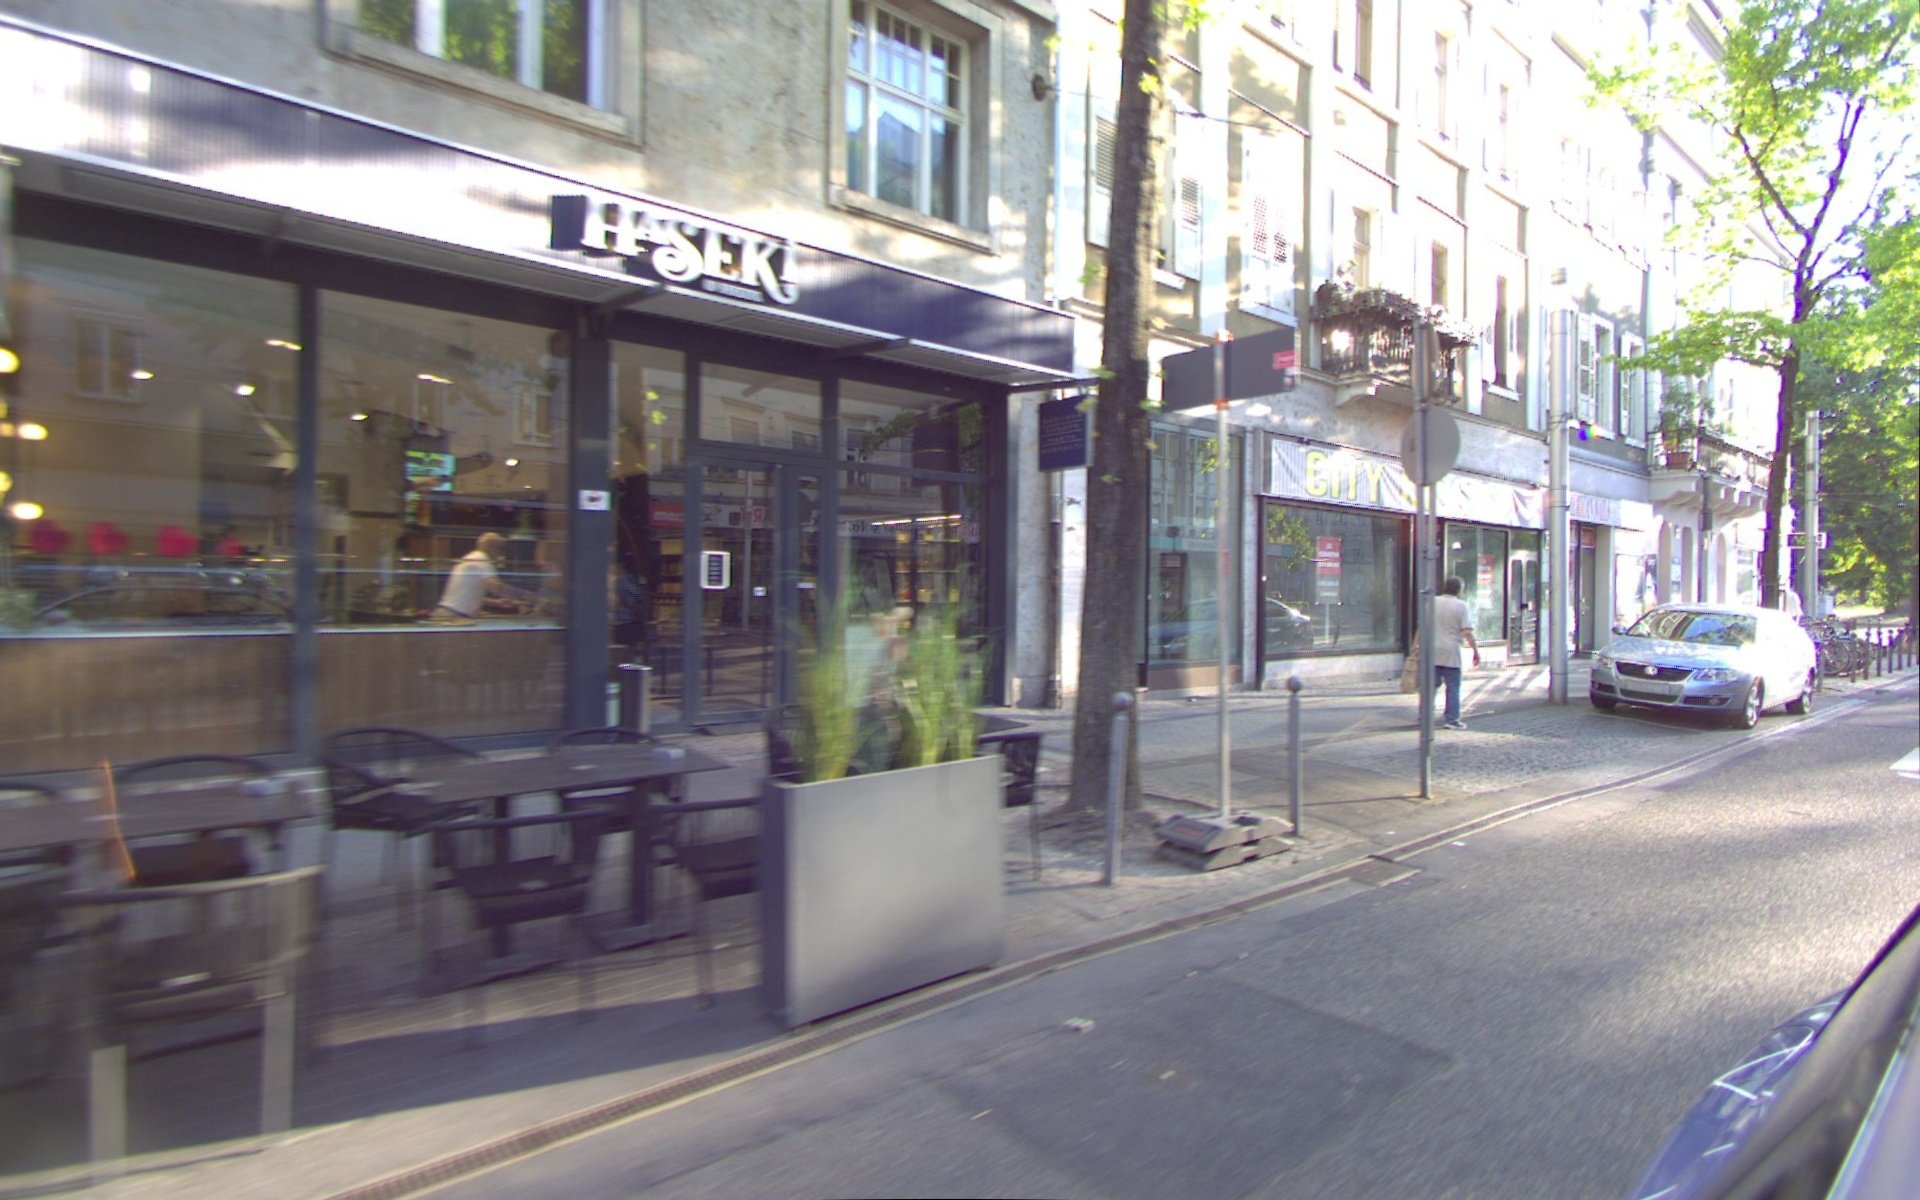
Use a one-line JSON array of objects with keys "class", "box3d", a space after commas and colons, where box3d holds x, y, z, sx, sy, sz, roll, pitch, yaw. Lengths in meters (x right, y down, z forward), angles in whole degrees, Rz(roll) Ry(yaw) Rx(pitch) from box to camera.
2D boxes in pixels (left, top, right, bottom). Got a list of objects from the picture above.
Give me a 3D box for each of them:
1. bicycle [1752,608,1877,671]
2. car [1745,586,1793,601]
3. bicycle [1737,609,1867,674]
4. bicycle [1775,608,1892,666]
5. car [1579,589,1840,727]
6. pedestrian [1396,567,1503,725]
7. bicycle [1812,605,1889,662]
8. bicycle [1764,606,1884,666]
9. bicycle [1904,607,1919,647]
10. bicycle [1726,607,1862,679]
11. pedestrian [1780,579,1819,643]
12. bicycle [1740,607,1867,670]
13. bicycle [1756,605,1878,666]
[{"class": "bicycle", "box3d": [17.259, 0.771, 20.484, 0.552, 1.169, 1.871, 0, 1, -37]}, {"class": "car", "box3d": [94.249, -0.754, 117.956, 4.429, 1.626, 2.004, 0, 0, -13]}, {"class": "bicycle", "box3d": [16.356, 0.778, 19.701, 0.552, 1.169, 1.871, 0, 1, -37]}, {"class": "bicycle", "box3d": [18.732, 0.768, 21.749, 0.341, 1.169, 1.871, 0, 1, -37]}, {"class": "car", "box3d": [10.210, 0.646, 13.667, 4.344, 1.457, 1.781, -1, 4, -40]}, {"class": "pedestrian", "box3d": [5.417, 0.476, 11.210, 0.742, 1.663, 0.805, 0, 1, -40]}, {"class": "bicycle", "box3d": [19.542, 0.717, 22.253, 0.454, 1.169, 1.677, 0, 1, 10]}, {"class": "bicycle", "box3d": [18.235, 0.728, 21.401, 0.552, 1.169, 1.871, 0, 1, -37]}, {"class": "bicycle", "box3d": [27.685, 0.766, 29.341, 1.671, 1.090, 0.354, -1, 1, -43]}, {"class": "bicycle", "box3d": [15.852, 0.790, 19.287, 0.552, 1.168, 1.872, 0, 3, -37]}, {"class": "pedestrian", "box3d": [27.471, 0.350, 33.110, 0.828, 2.039, 0.845, -1, 1, -39]}, {"class": "bicycle", "box3d": [16.751, 0.741, 20.151, 0.552, 1.169, 1.871, 0, 1, -37]}, {"class": "bicycle", "box3d": [17.743, 0.702, 20.998, 0.552, 1.169, 1.871, 0, 1, -37]}]
